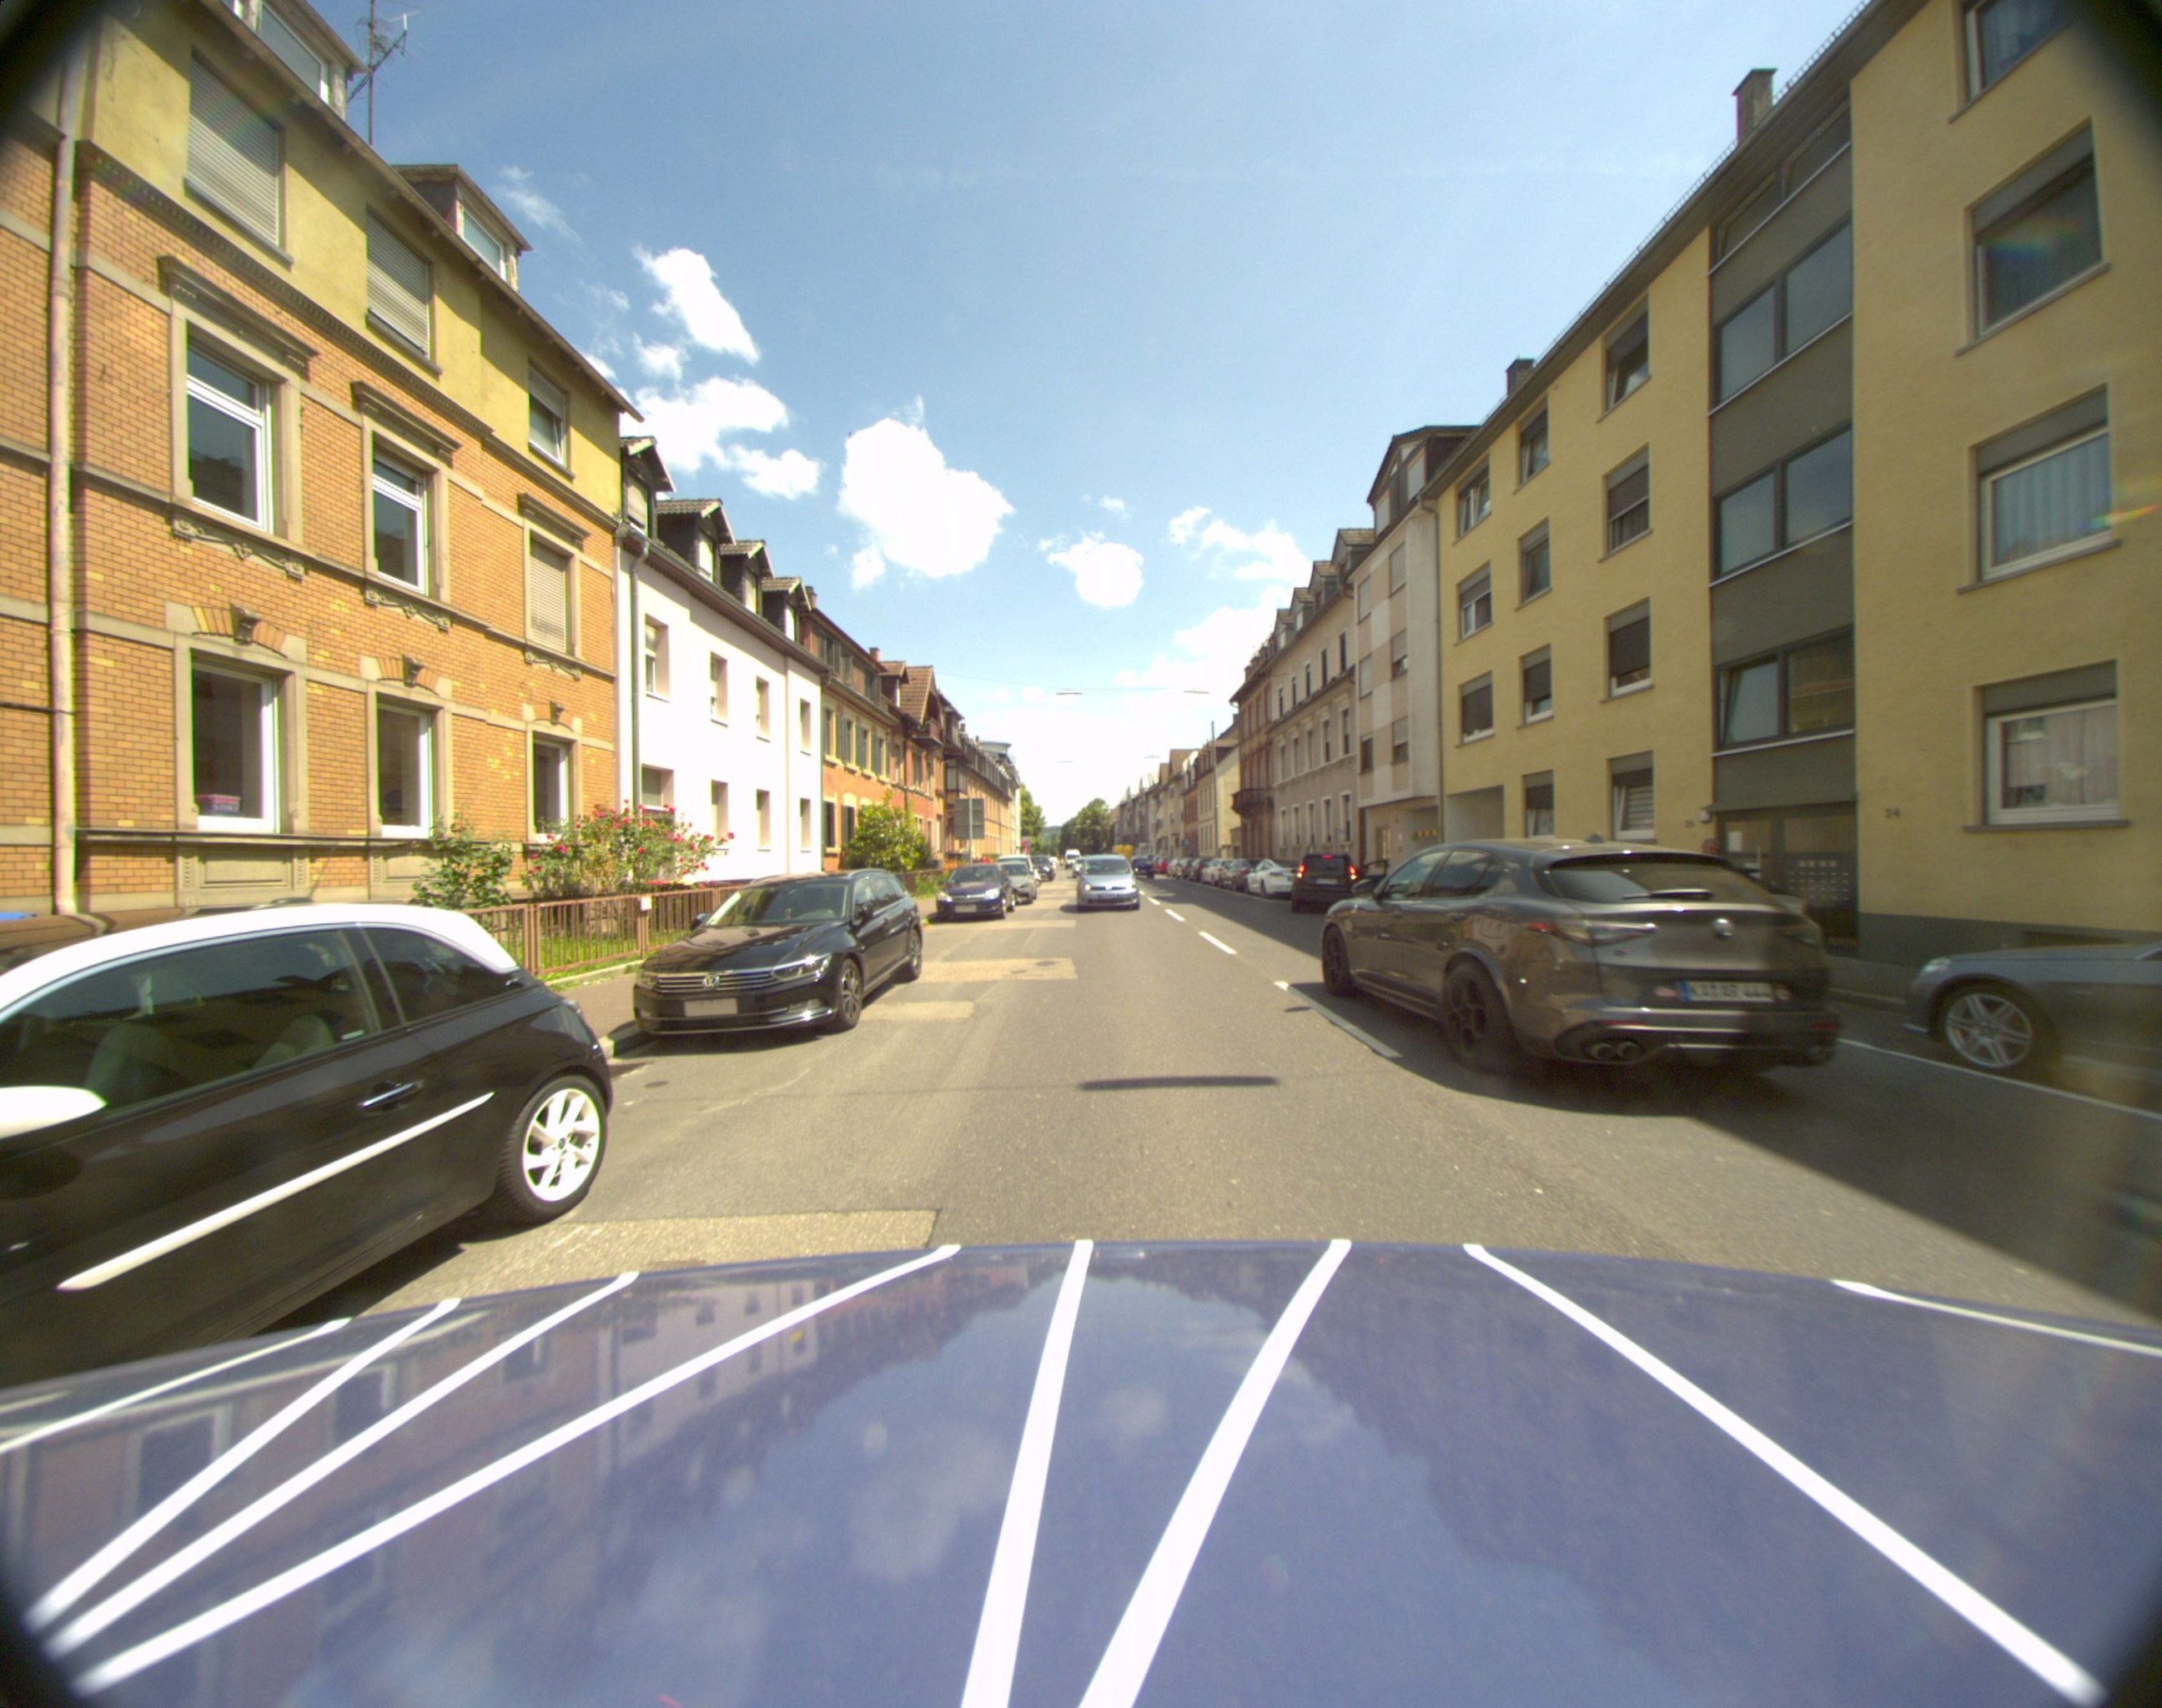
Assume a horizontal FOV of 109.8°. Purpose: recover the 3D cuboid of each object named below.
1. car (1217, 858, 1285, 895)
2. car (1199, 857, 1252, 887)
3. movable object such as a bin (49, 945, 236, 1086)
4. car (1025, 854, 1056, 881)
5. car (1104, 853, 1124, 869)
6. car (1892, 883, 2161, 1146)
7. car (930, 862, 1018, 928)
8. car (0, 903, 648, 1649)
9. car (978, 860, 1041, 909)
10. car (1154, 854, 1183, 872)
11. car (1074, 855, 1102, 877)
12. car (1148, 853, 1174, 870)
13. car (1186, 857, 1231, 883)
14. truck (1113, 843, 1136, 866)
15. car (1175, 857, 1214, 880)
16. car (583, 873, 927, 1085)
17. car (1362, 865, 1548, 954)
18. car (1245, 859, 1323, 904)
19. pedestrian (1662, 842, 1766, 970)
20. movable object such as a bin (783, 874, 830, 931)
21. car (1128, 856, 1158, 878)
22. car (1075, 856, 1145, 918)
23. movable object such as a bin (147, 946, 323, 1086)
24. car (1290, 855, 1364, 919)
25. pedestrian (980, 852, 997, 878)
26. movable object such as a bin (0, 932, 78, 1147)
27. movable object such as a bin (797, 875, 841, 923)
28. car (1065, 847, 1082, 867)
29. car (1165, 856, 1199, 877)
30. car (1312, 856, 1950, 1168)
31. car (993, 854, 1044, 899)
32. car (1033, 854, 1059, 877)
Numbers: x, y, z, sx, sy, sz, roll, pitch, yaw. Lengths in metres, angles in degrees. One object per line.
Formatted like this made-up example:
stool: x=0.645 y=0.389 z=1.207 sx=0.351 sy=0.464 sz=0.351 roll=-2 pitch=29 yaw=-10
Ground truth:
car: x=7.325 y=0.921 z=33.160 sx=1.749 sy=1.402 sz=4.512 roll=2 pitch=0 yaw=-2
car: x=7.451 y=0.899 z=39.511 sx=1.749 sy=1.402 sz=4.103 roll=2 pitch=0 yaw=-3
movable object such as a bin: x=-7.005 y=1.187 z=5.703 sx=0.626 sy=0.923 sz=0.612 roll=-1 pitch=0 yaw=0
car: x=-2.564 y=0.849 z=49.032 sx=1.708 sy=1.618 sz=3.931 roll=-3 pitch=0 yaw=0
car: x=3.279 y=0.696 z=76.509 sx=1.810 sy=1.522 sz=4.000 roll=1 pitch=0 yaw=1
car: x=7.139 y=0.982 z=3.437 sx=1.909 sy=1.443 sz=4.686 roll=2 pitch=0 yaw=1
car: x=-2.770 y=1.019 z=20.467 sx=1.708 sy=1.470 sz=3.931 roll=-3 pitch=0 yaw=0
car: x=-3.256 y=1.042 z=2.048 sx=1.762 sy=1.470 sz=3.931 roll=-3 pitch=0 yaw=2
car: x=-2.415 y=1.000 z=26.504 sx=1.708 sy=1.470 sz=3.931 roll=-3 pitch=0 yaw=0
car: x=7.192 y=0.718 z=62.938 sx=1.665 sy=1.402 sz=4.103 roll=2 pitch=0 yaw=-3
car: x=0.578 y=0.863 z=55.644 sx=1.904 sy=1.489 sz=4.488 roll=-1 pitch=0 yaw=2
car: x=7.127 y=0.674 z=68.131 sx=1.665 sy=1.402 sz=4.103 roll=2 pitch=0 yaw=-3
car: x=7.514 y=0.916 z=45.128 sx=1.749 sy=1.402 sz=4.103 roll=2 pitch=0 yaw=-3
truck: x=5.405 y=0.115 z=95.238 sx=2.323 sy=2.724 sz=8.068 roll=-1 pitch=0 yaw=-1
car: x=7.533 y=0.941 z=50.630 sx=1.749 sy=1.402 sz=4.103 roll=2 pitch=0 yaw=-3
car: x=-3.007 y=1.038 z=8.188 sx=1.762 sy=1.470 sz=4.418 roll=-3 pitch=0 yaw=-1
car: x=7.100 y=0.974 z=14.915 sx=1.749 sy=1.402 sz=3.915 roll=2 pitch=0 yaw=1
car: x=7.311 y=0.949 z=27.746 sx=1.749 sy=1.402 sz=4.284 roll=2 pitch=0 yaw=1
pedestrian: x=9.014 y=0.710 z=10.857 sx=0.804 sy=1.745 sz=0.876 roll=-1 pitch=0 yaw=8
movable object such as a bin: x=-6.248 y=1.087 z=17.332 sx=0.753 sy=1.234 sz=0.877 roll=-1 pitch=0 yaw=-1
car: x=4.260 y=0.858 z=52.849 sx=1.810 sy=1.425 sz=4.000 roll=1 pitch=0 yaw=1
car: x=0.775 y=0.858 z=21.745 sx=1.758 sy=1.559 sz=4.000 roll=-2 pitch=0 yaw=1
movable object such as a bin: x=-6.358 y=1.194 z=5.742 sx=0.626 sy=0.923 sz=0.612 roll=-1 pitch=0 yaw=0
car: x=6.867 y=0.862 z=21.440 sx=1.746 sy=1.579 sz=3.958 roll=2 pitch=0 yaw=16
pedestrian: x=-6.590 y=0.799 z=54.362 sx=1.056 sy=1.851 sz=0.981 roll=-1 pitch=0 yaw=0
movable object such as a bin: x=-6.470 y=1.066 z=4.241 sx=0.723 sy=1.181 sz=0.747 roll=-1 pitch=0 yaw=0
movable object such as a bin: x=-6.252 y=1.054 z=18.175 sx=0.753 sy=1.091 sz=0.877 roll=-1 pitch=0 yaw=-1
car: x=-0.889 y=0.316 z=88.919 sx=1.905 sy=2.261 sz=5.671 roll=-1 pitch=0 yaw=-1
car: x=7.439 y=0.892 z=56.345 sx=1.749 sy=1.402 sz=4.103 roll=2 pitch=0 yaw=-3
car: x=3.521 y=0.821 z=6.150 sx=1.913 sy=1.601 sz=4.446 roll=0 pitch=0 yaw=0
car: x=-2.583 y=0.880 z=32.106 sx=1.708 sy=1.700 sz=3.931 roll=-3 pitch=0 yaw=0
car: x=-2.653 y=0.870 z=58.606 sx=1.708 sy=1.618 sz=3.931 roll=-3 pitch=0 yaw=0
